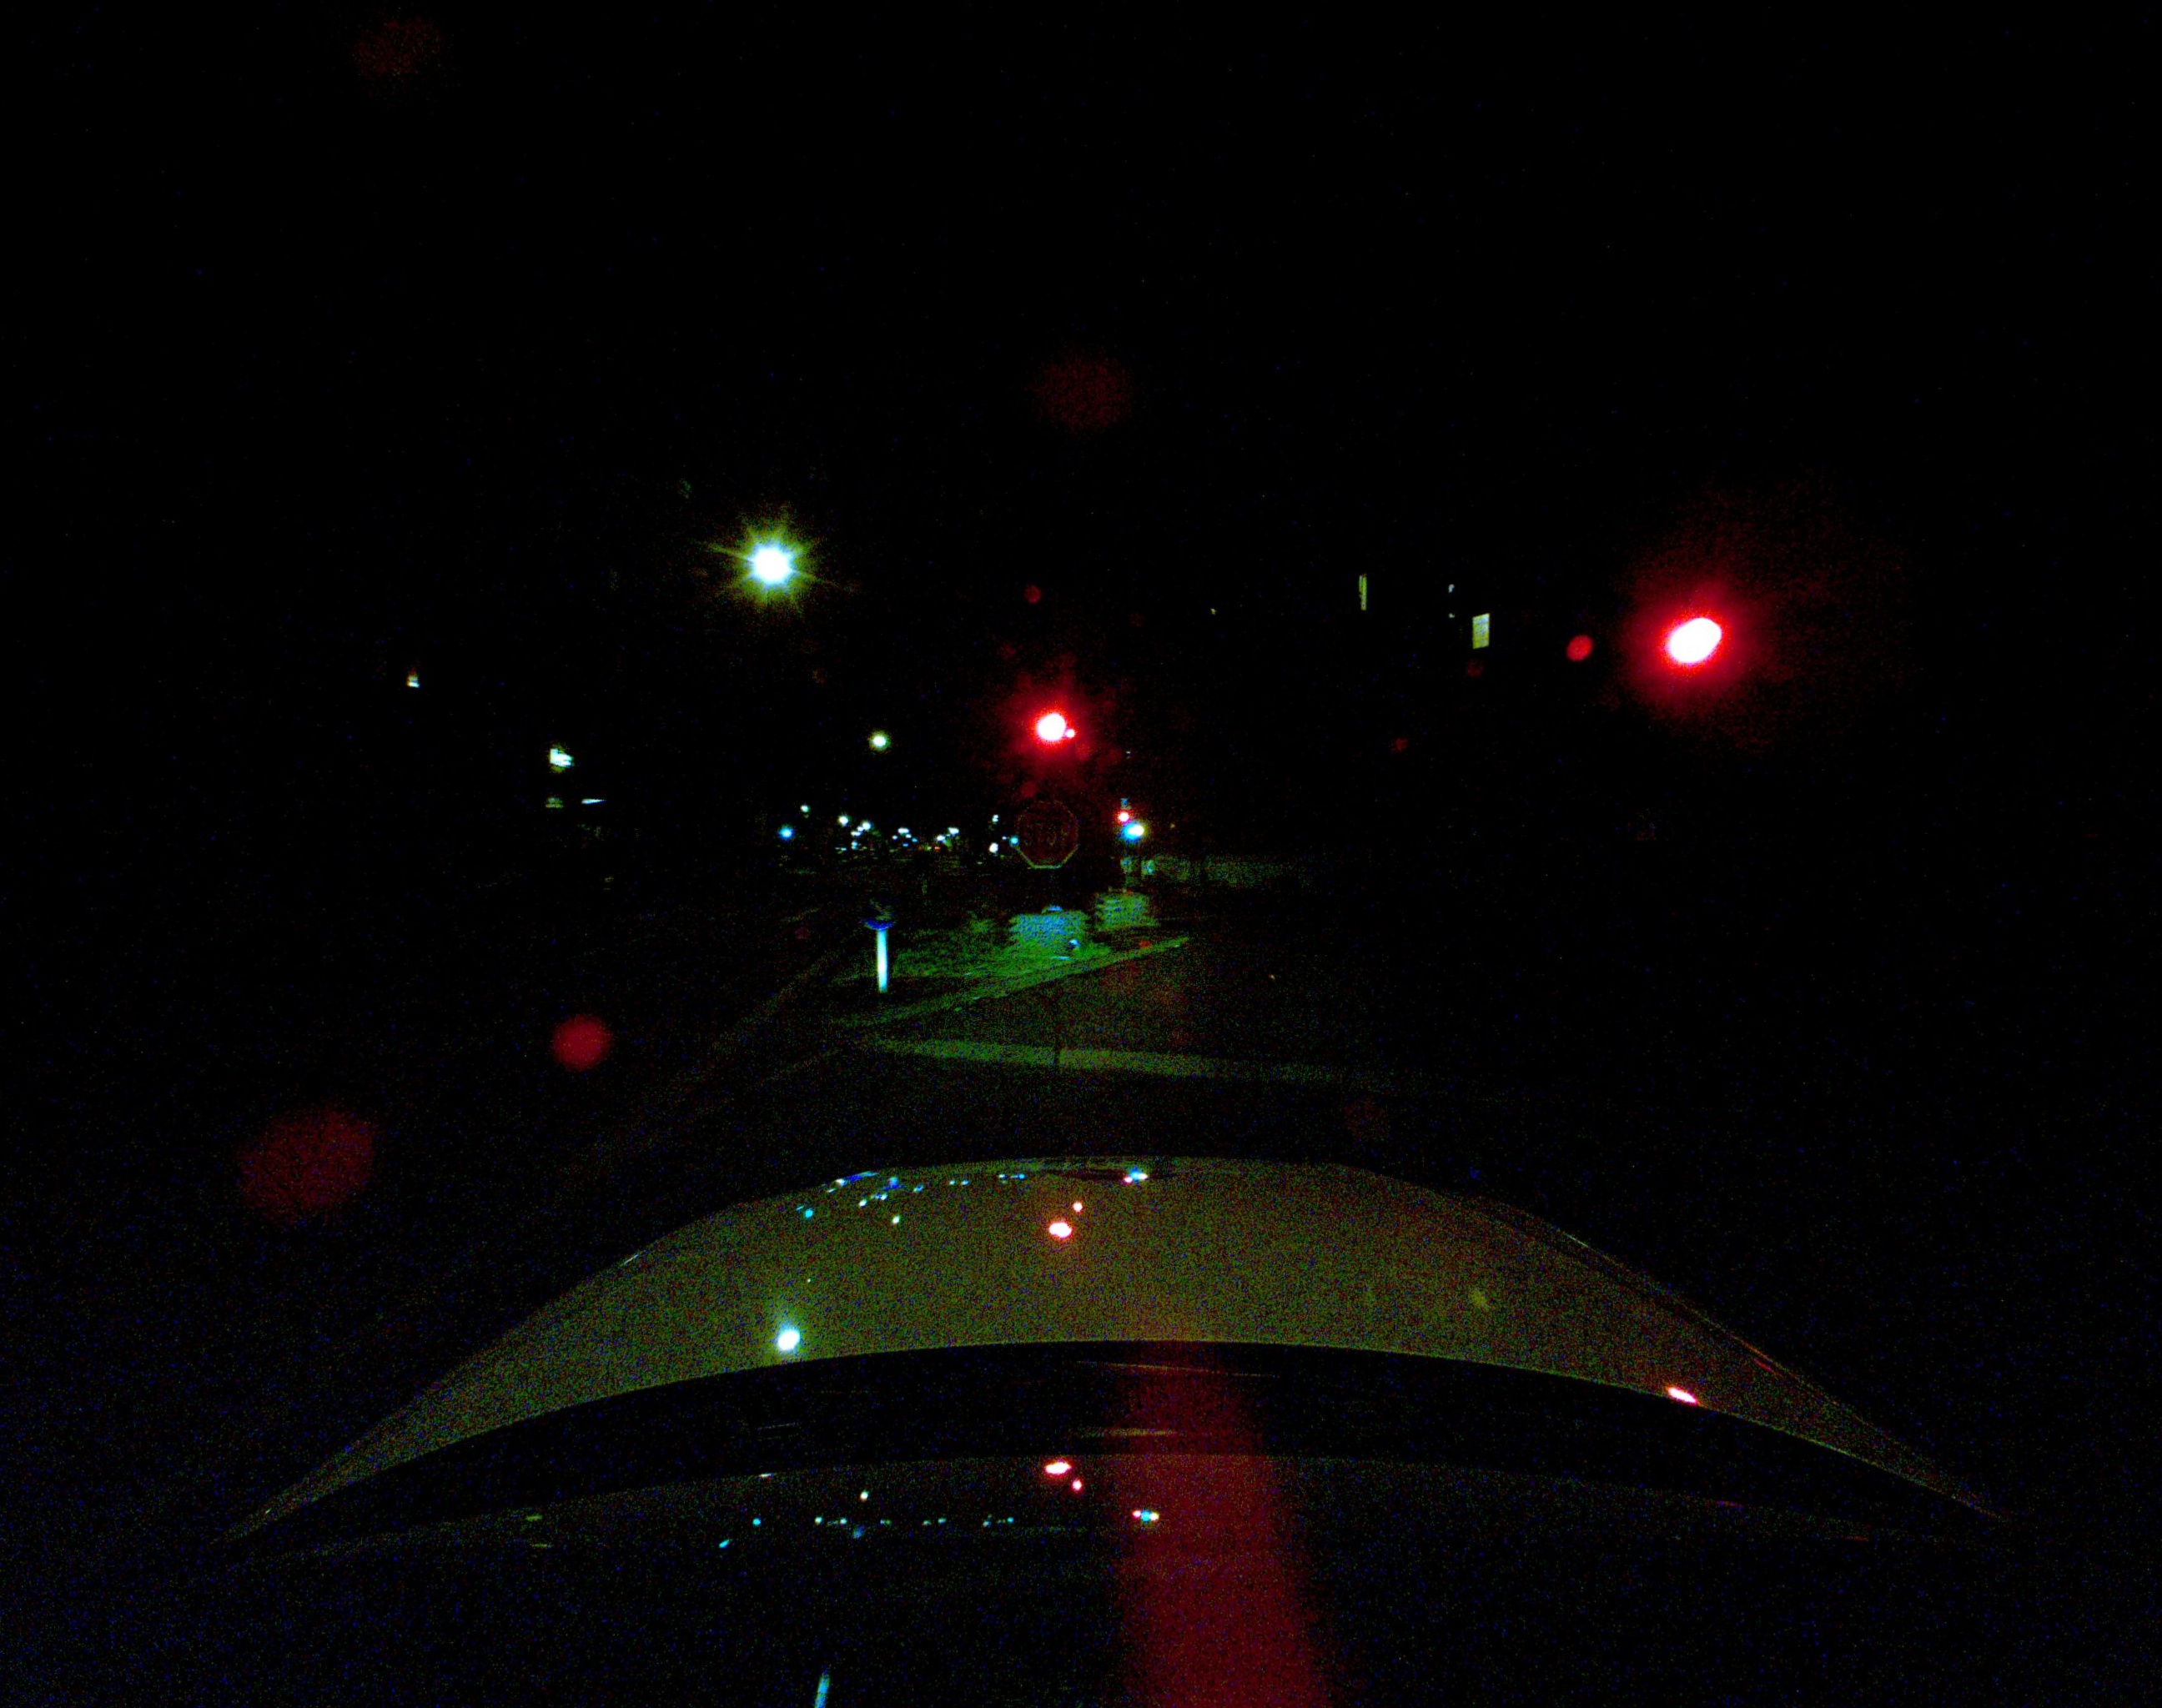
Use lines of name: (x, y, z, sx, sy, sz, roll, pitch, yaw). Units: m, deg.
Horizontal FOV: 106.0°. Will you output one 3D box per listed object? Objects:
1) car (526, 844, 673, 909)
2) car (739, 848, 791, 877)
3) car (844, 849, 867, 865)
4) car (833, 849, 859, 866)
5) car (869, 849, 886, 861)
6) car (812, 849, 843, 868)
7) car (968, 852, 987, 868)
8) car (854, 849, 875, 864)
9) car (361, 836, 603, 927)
car: (-12.154, 0.531, 20.918, 1.804, 1.481, 4.308, 1, 0, -10)
car: (-16.013, 0.411, 41.400, 1.651, 1.431, 3.987, 1, 0, -9)
car: (-21.208, 0.299, 76.712, 1.651, 1.431, 3.987, 1, 0, -9)
car: (-20.329, 0.317, 70.656, 1.651, 1.431, 3.987, 1, 0, -9)
car: (-24.259, 0.144, 97.046, 1.651, 1.431, 3.987, 1, 0, -9)
car: (-19.429, 0.349, 62.515, 1.651, 1.431, 3.987, 1, 0, -9)
car: (-9.560, 0.578, 75.121, 1.650, 1.431, 3.989, 1, 0, -8)
car: (-22.204, 0.265, 83.506, 1.651, 1.431, 3.987, 1, 0, -9)
car: (-11.411, 0.484, 15.995, 1.899, 1.471, 4.438, 3, -1, -9)
